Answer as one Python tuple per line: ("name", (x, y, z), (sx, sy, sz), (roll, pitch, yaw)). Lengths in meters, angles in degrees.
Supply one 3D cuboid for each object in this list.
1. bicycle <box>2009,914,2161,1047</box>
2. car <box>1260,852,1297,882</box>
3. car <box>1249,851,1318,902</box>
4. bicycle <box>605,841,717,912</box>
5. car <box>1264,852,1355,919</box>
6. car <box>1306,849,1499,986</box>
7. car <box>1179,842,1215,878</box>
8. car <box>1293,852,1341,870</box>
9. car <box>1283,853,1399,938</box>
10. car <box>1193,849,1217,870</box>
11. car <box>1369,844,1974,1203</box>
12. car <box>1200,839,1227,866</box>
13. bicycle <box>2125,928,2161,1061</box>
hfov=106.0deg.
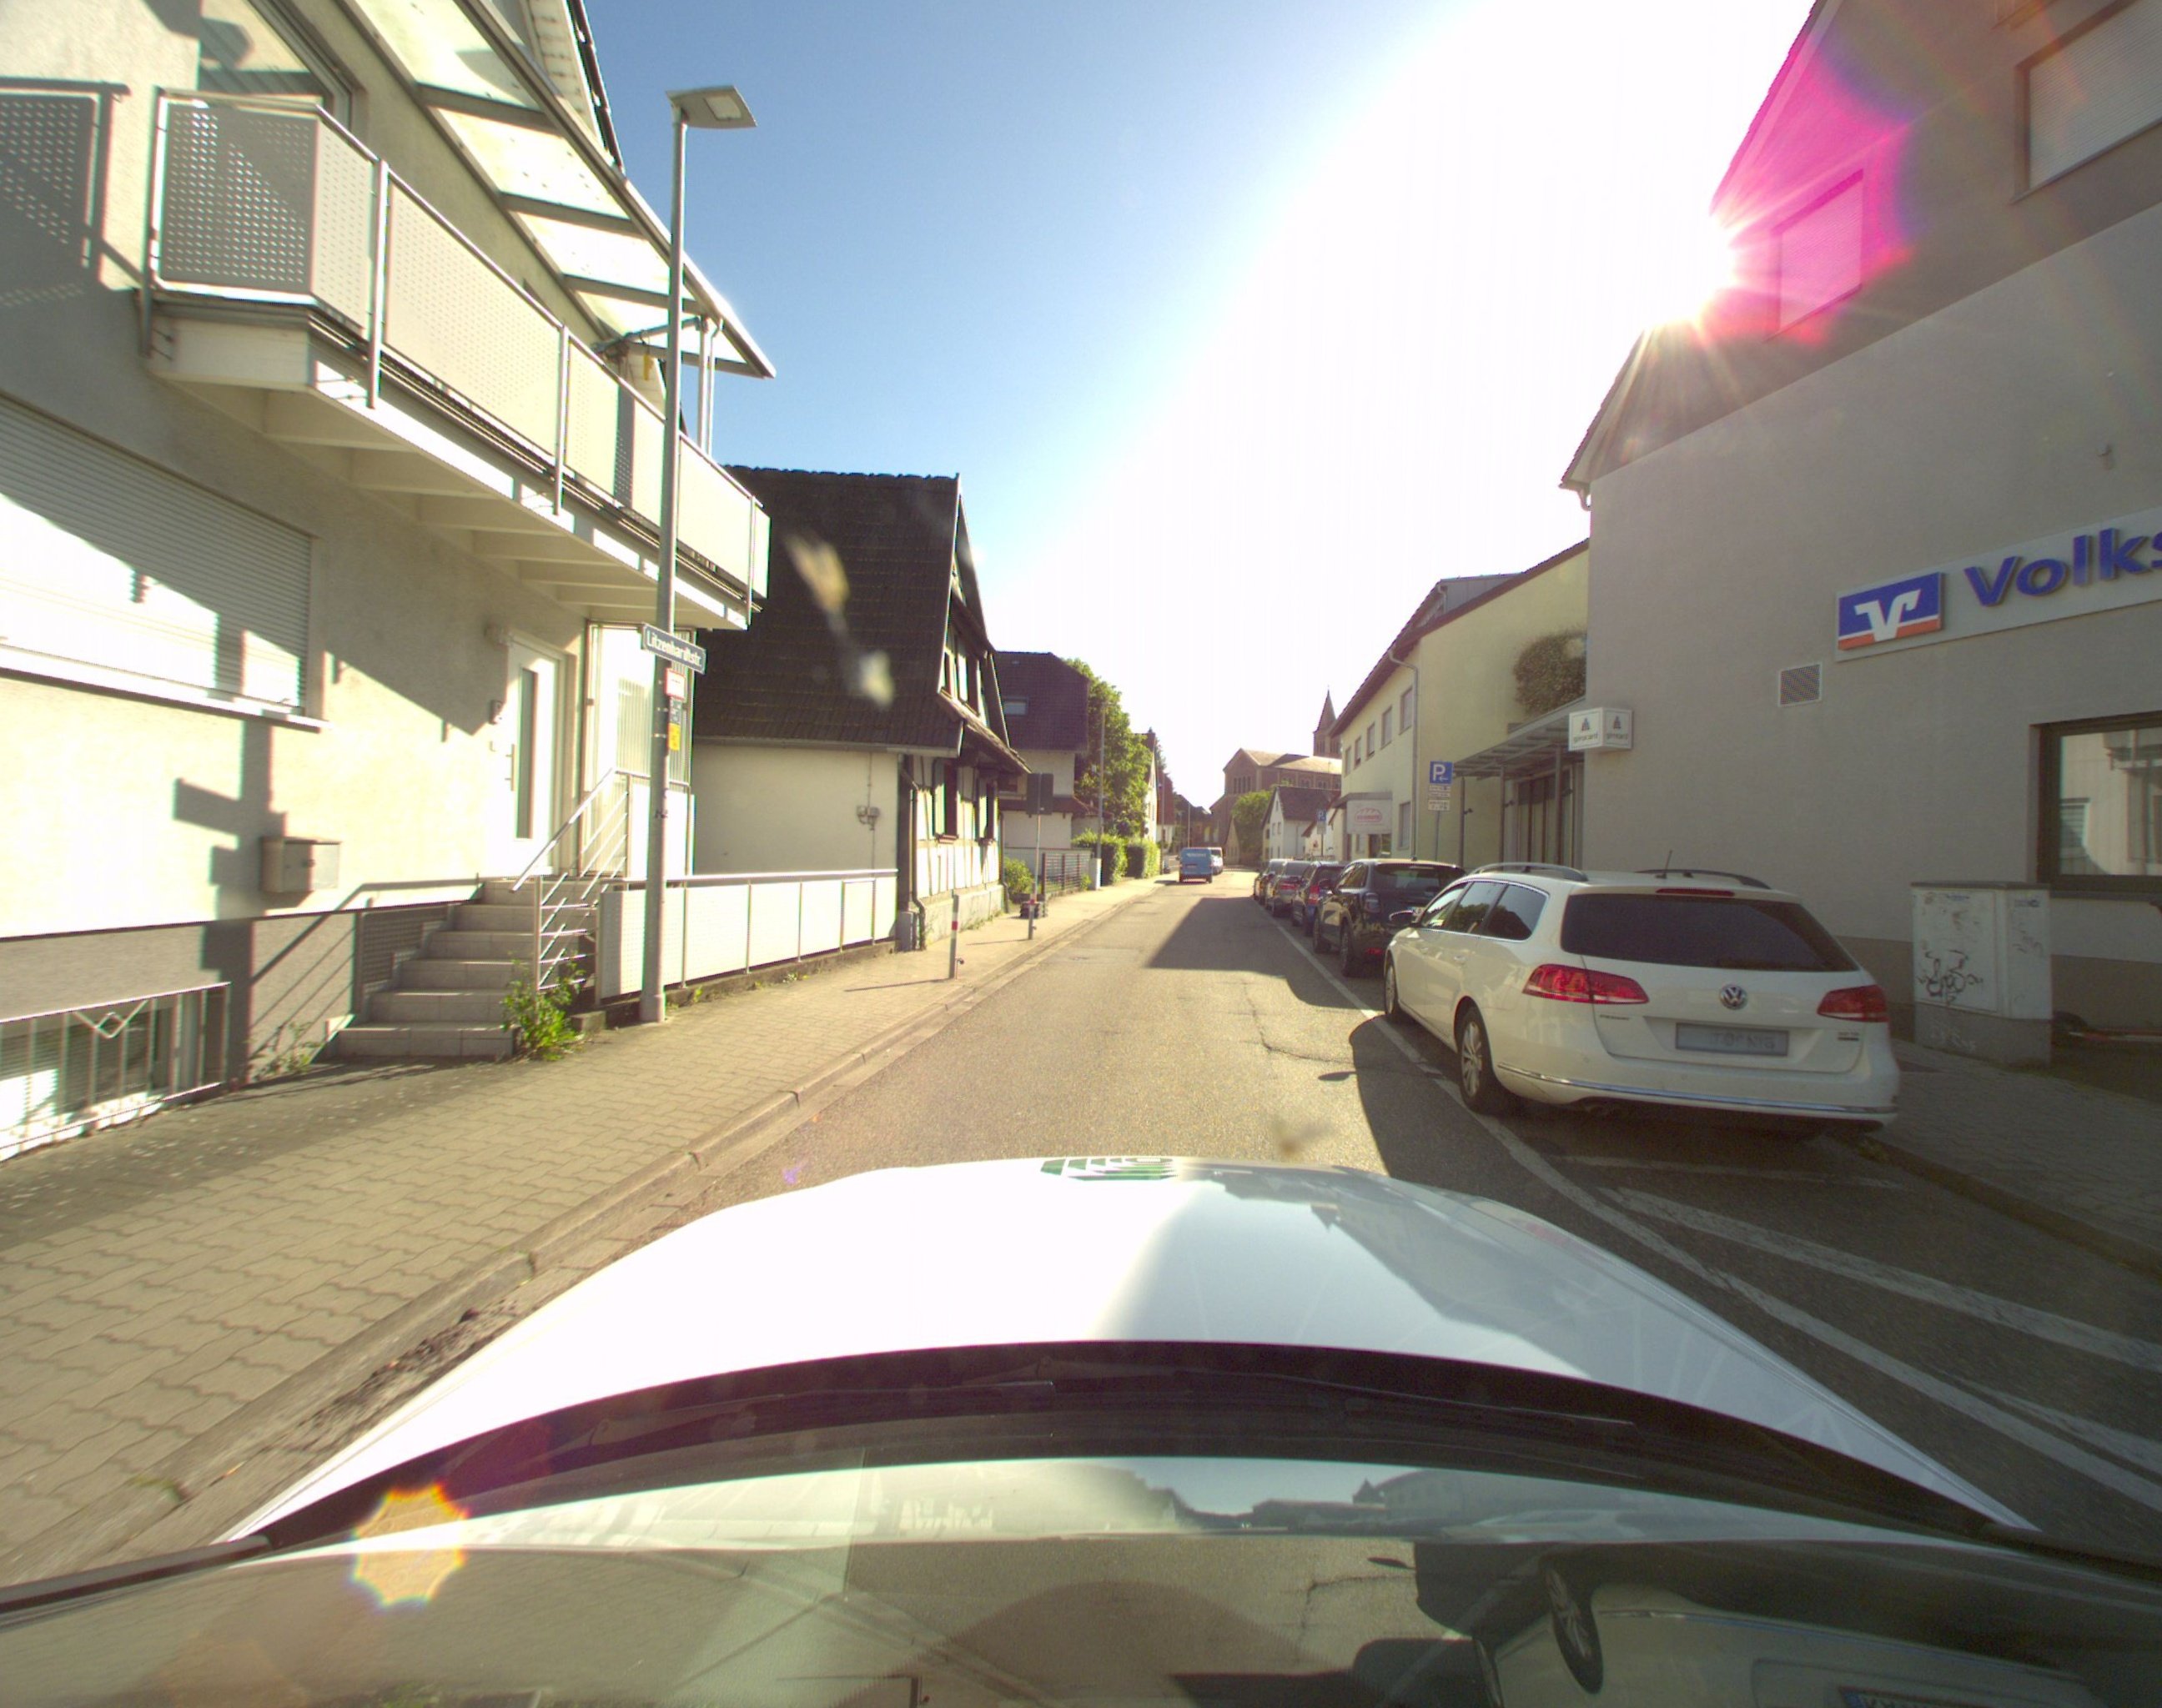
("bicycle", (8.309, 0.999, 6.473), (1.211, 0.975, 0.322), (1, 0, 22))
("car", (10.889, 0.693, 44.608), (1.798, 1.475, 4.678), (2, 0, 15))
("car", (6.654, 0.707, 27.197), (1.798, 1.475, 4.856), (3, 0, 9))
("bicycle", (-4.675, 0.226, 9.166), (0.487, 0.717, 1.501), (2, 0, -1))
("car", (5.885, 0.727, 21.442), (1.797, 1.475, 4.456), (3, 1, 9))
("car", (4.328, 0.739, 11.573), (1.601, 1.520, 3.980), (3, 1, 8))
("car", (6.506, 0.329, 45.897), (1.892, 1.917, 5.081), (0, 0, 7))
("car", (20.777, 0.594, 71.705), (3.880, 1.492, 1.856), (1, 0, 19))
("car", (5.309, 0.766, 17.061), (1.715, 1.475, 3.885), (3, 1, 9))
("car", (9.785, 0.406, 64.166), (1.704, 1.598, 3.937), (0, 0, 11))
("car", (3.404, 0.722, 5.921), (1.834, 1.513, 4.520), (2, 1, 11))
("car", (12.330, -0.154, 75.519), (2.183, 2.390, 6.083), (-1, 0, 11))
("bicycle", (8.301, 1.023, 5.764), (1.154, 0.920, 0.314), (1, 0, 16))
